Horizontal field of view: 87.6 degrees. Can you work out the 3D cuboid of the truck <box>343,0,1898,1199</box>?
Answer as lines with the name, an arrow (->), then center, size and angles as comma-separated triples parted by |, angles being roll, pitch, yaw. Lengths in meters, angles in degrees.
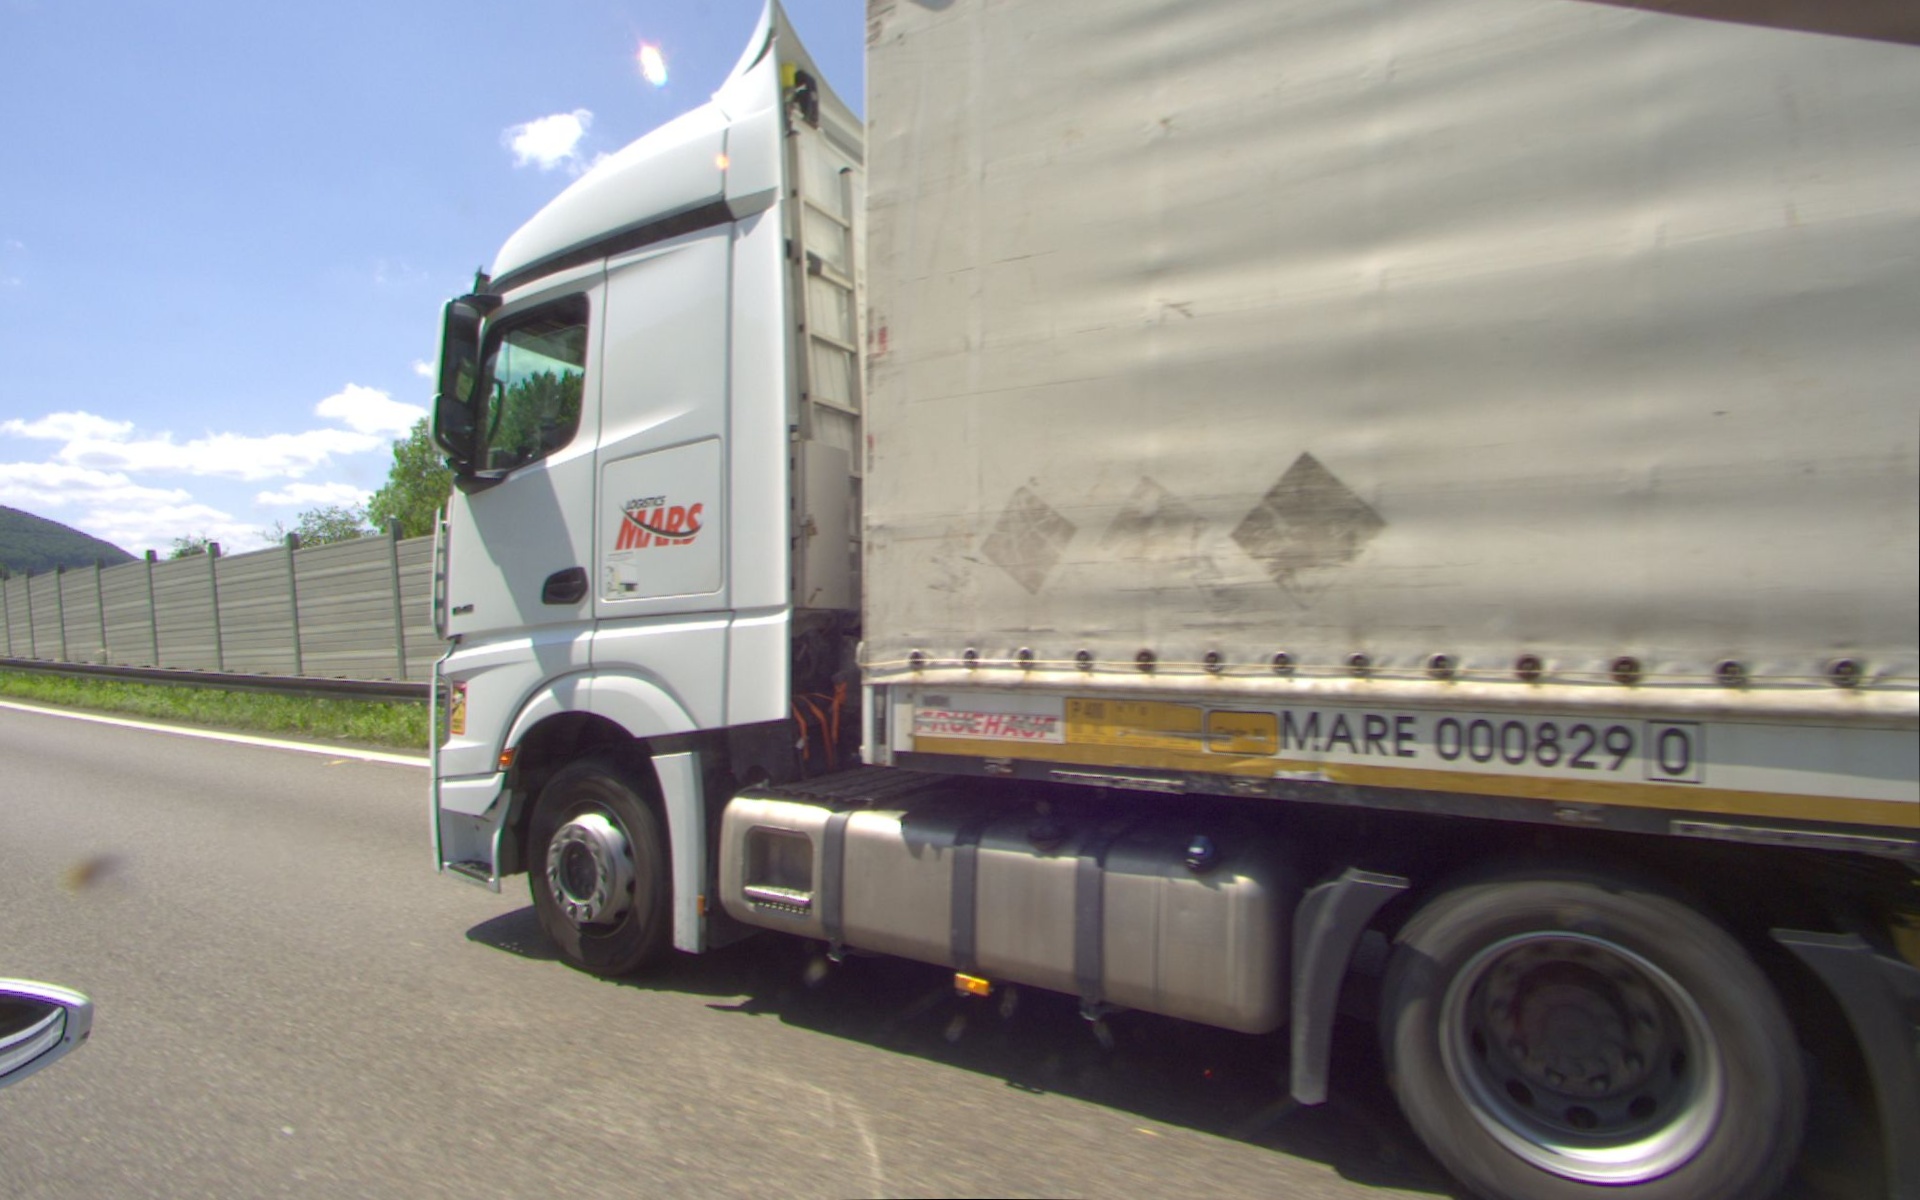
truck -> 0.107, -0.480, 4.662 | 5.668, 4.120, 2.716 | -1, -1, 30

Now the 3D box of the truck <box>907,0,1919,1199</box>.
truck -> 6.357, -0.630, 1.037 | 13.536, 4.120, 2.723 | -1, -1, 30
